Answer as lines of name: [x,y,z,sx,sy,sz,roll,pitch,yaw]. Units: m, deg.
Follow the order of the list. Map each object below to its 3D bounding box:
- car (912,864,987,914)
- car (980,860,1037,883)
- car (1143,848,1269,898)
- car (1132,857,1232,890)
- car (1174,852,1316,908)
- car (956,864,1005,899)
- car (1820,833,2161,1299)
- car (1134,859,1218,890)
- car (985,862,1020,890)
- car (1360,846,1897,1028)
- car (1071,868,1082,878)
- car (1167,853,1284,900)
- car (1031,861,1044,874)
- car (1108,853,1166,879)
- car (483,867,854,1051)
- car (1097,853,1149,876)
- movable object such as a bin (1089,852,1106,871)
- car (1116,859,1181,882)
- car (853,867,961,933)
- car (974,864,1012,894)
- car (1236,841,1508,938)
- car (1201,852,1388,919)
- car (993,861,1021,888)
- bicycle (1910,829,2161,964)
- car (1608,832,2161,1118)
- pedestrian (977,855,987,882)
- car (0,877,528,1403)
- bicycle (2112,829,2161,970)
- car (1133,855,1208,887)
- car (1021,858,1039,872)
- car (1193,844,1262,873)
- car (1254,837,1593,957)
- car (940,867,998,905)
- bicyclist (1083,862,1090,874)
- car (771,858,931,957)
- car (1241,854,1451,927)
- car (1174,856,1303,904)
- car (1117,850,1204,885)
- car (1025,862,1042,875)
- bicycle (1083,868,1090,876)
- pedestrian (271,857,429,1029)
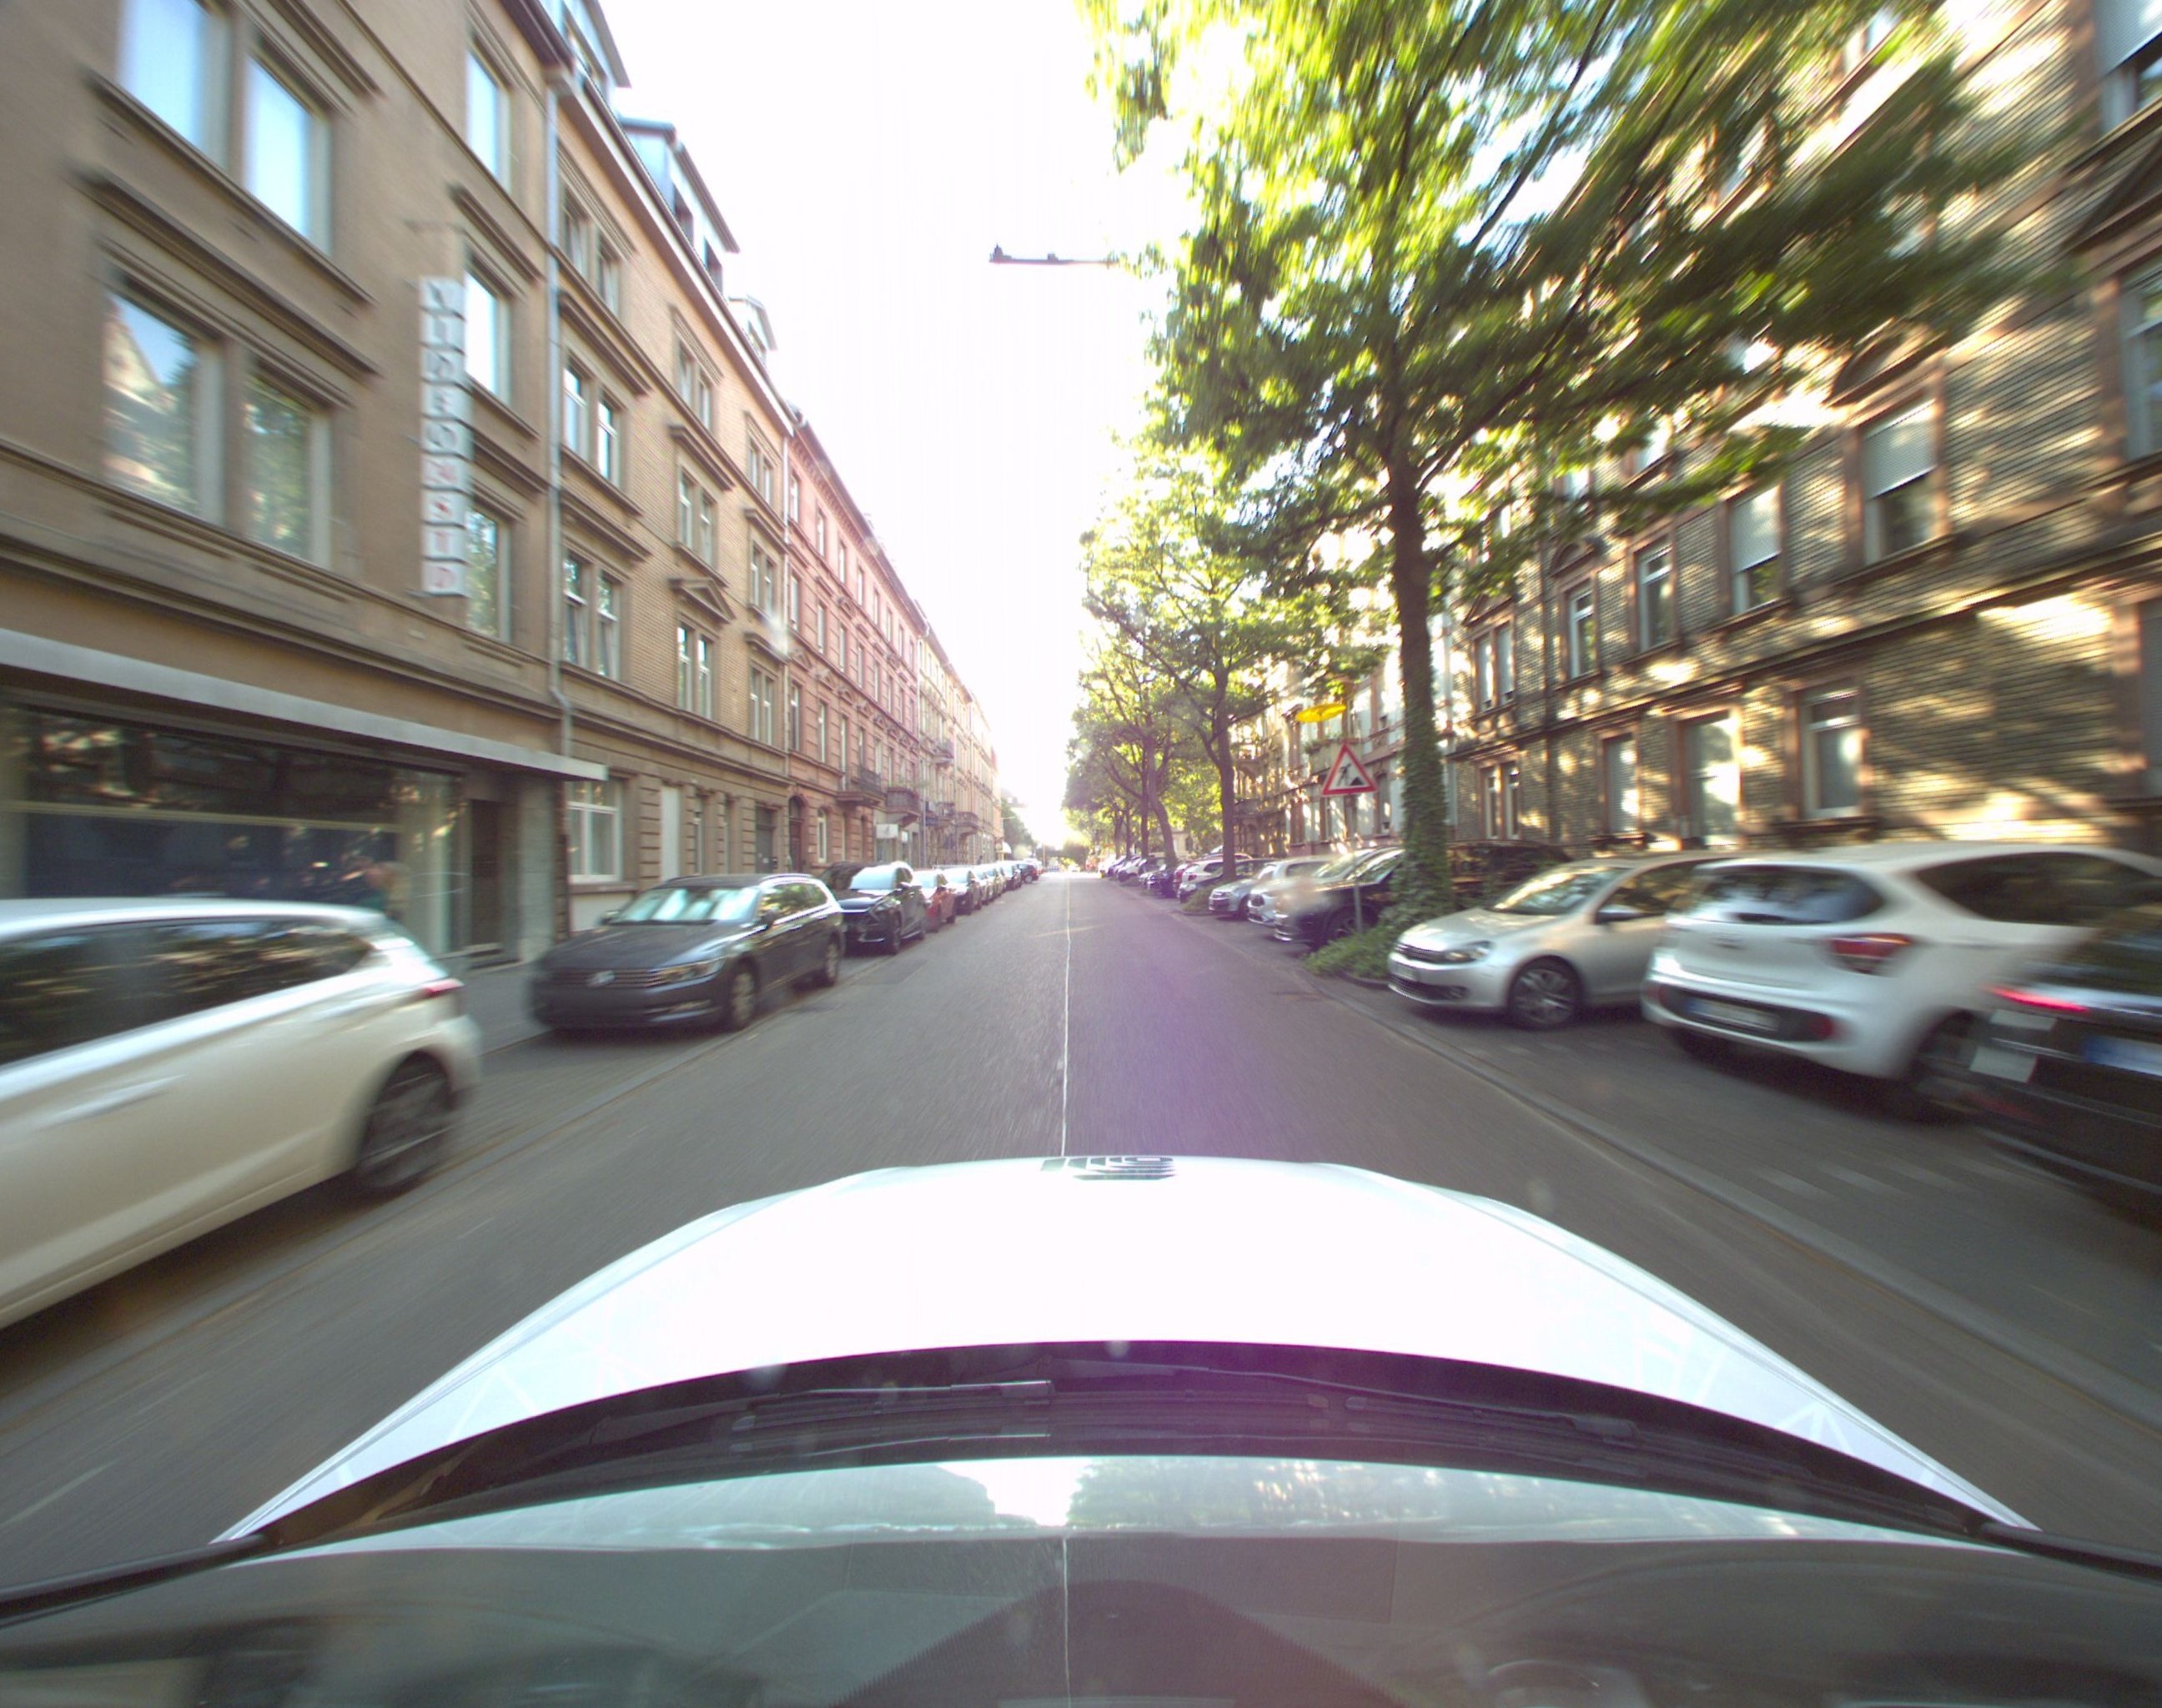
car: [-4.221,1.080,26.832,1.816,1.477,4.421,0,0,-1]
car: [-5.267,1.262,58.960,3.983,1.529,1.821,-1,-1,-7]
car: [4.966,0.740,32.761,4.637,1.702,1.878,-3,0,-5]
car: [4.987,0.972,40.591,4.651,1.503,1.929,-1,-1,-5]
car: [4.993,0.789,25.151,3.977,1.388,1.676,-4,0,-2]
car: [-4.414,1.177,36.379,1.700,1.439,3.957,-1,0,-1]
car: [5.501,0.601,2.844,4.134,1.455,1.935,-3,0,-2]
car: [4.943,1.045,42.808,4.100,1.503,1.807,-1,-1,-6]
car: [-4.480,1.251,46.847,1.643,1.473,3.997,2,-1,-1]
car: [4.930,0.703,7.735,3.975,1.456,1.686,-1,-1,-1]
car: [-0.722,3.128,136.365,1.744,1.509,3.998,-1,-1,-1]
car: [5.356,0.824,30.467,3.980,1.590,1.779,-1,-1,-5]
car: [-5.465,1.713,102.674,1.666,1.530,3.995,-1,-1,-3]
car: [4.634,0.961,67.613,4.606,2.014,1.997,-1,-1,-4]
car: [-4.116,0.920,9.146,1.856,1.472,4.488,-1,0,0]
car: [4.114,1.018,80.398,4.959,2.096,2.104,-1,-1,-2]
movable object such as a bin: [2.442,1.123,120.534,1.980,2.699,3.120,-1,-1,12]
car: [4.641,1.113,56.368,4.356,1.456,1.933,-2,-1,-1]
car: [-4.181,1.062,20.287,1.816,1.426,4.311,0,0,-1]
car: [-4.564,1.267,42.595,1.577,1.473,3.997,-1,0,-1]
car: [5.365,0.650,15.432,4.465,1.656,1.889,-1,-2,-3]
car: [5.305,0.766,20.549,4.214,1.536,1.798,-1,0,-4]
car: [-4.666,1.288,51.616,1.645,1.574,4.042,2,-1,-5]
bicycle: [10.371,0.426,8.948,0.532,1.319,1.882,-1,-1,-2]
car: [5.958,0.633,5.351,3.979,1.495,1.685,-1,-1,-4]
pedestrian: [-7.000,1.023,57.539,0.639,1.888,0.589,-1,-1,-12]
car: [-4.034,0.877,2.650,1.752,1.472,4.085,-1,0,-2]
bicycle: [10.311,0.415,7.027,0.373,1.319,1.882,-1,-1,-2]
car: [4.993,0.921,45.505,3.879,1.649,1.721,-1,-1,-6]
car: [-5.459,1.187,87.131,1.760,1.437,4.296,-1,-1,-2]
car: [13.608,0.413,75.915,5.889,2.537,2.374,-1,-1,-7]
car: [5.113,0.648,12.651,4.461,1.656,1.891,-1,-2,0]
car: [-4.302,1.202,31.704,1.700,1.323,4.099,-1,0,-1]
bicyclist: [0.615,1.653,93.884,0.801,1.383,0.984,0,-1,-2]
car: [-4.106,0.882,15.303,1.816,1.600,4.311,0,0,-1]
car: [5.793,0.770,18.126,4.087,1.470,1.801,-1,0,0]
car: [5.300,0.869,27.727,3.980,1.462,1.779,-1,-1,-5]
car: [4.859,0.850,50.204,5.077,1.940,2.157,-1,-4,-1]
car: [-5.376,1.649,92.346,1.720,1.437,3.994,1,-1,-1]
bicycle: [0.624,2.066,93.926,0.801,0.968,2.107,0,-1,-1]
pedestrian: [-7.412,0.858,8.313,0.694,1.631,1.017,-1,-1,-2]
